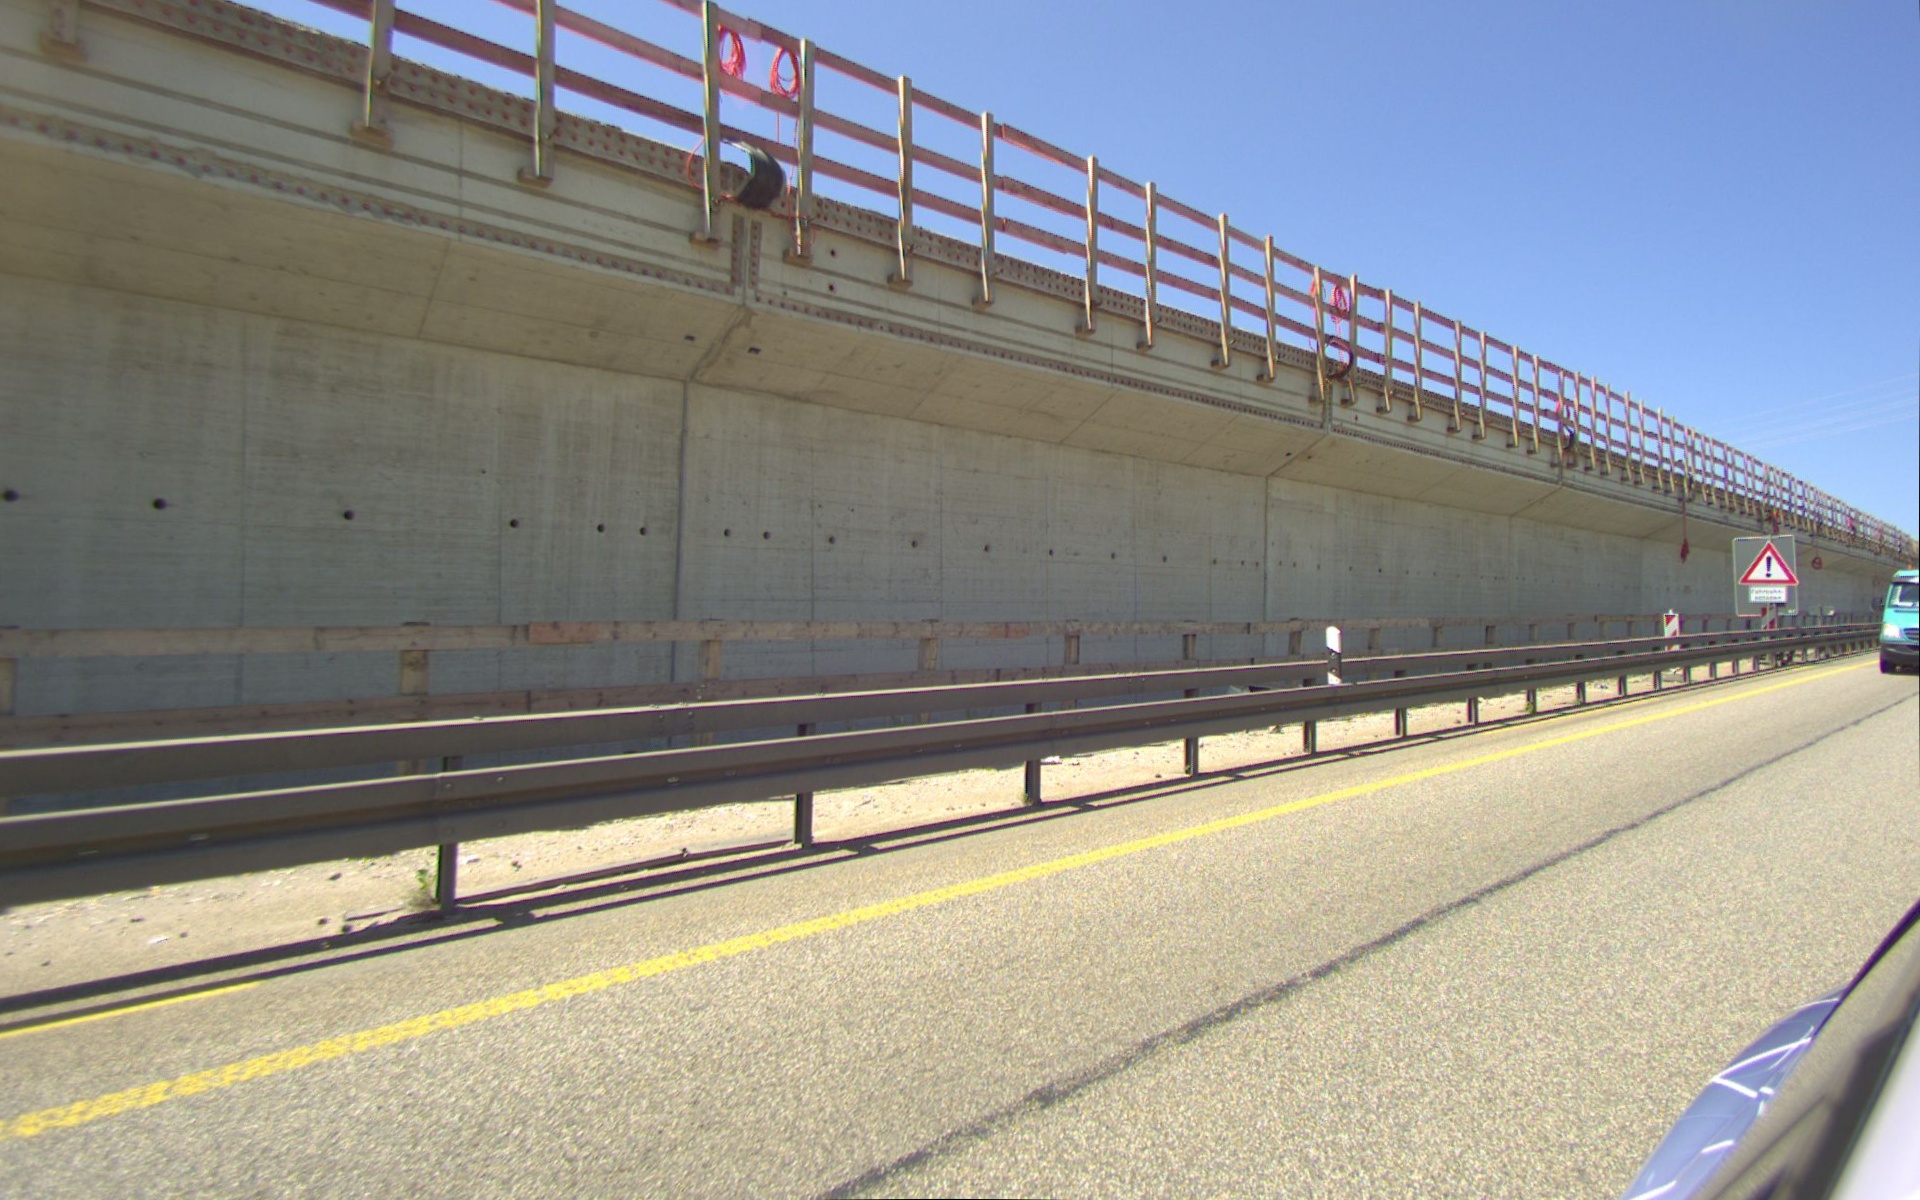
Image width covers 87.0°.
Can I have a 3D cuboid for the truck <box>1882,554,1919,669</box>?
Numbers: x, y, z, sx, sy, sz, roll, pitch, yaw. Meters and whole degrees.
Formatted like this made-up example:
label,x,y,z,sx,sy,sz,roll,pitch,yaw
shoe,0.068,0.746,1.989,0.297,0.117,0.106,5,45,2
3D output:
label,x,y,z,sx,sy,sz,roll,pitch,yaw
truck,22.991,0.217,23.008,7.303,2.387,2.138,-1,0,-41
